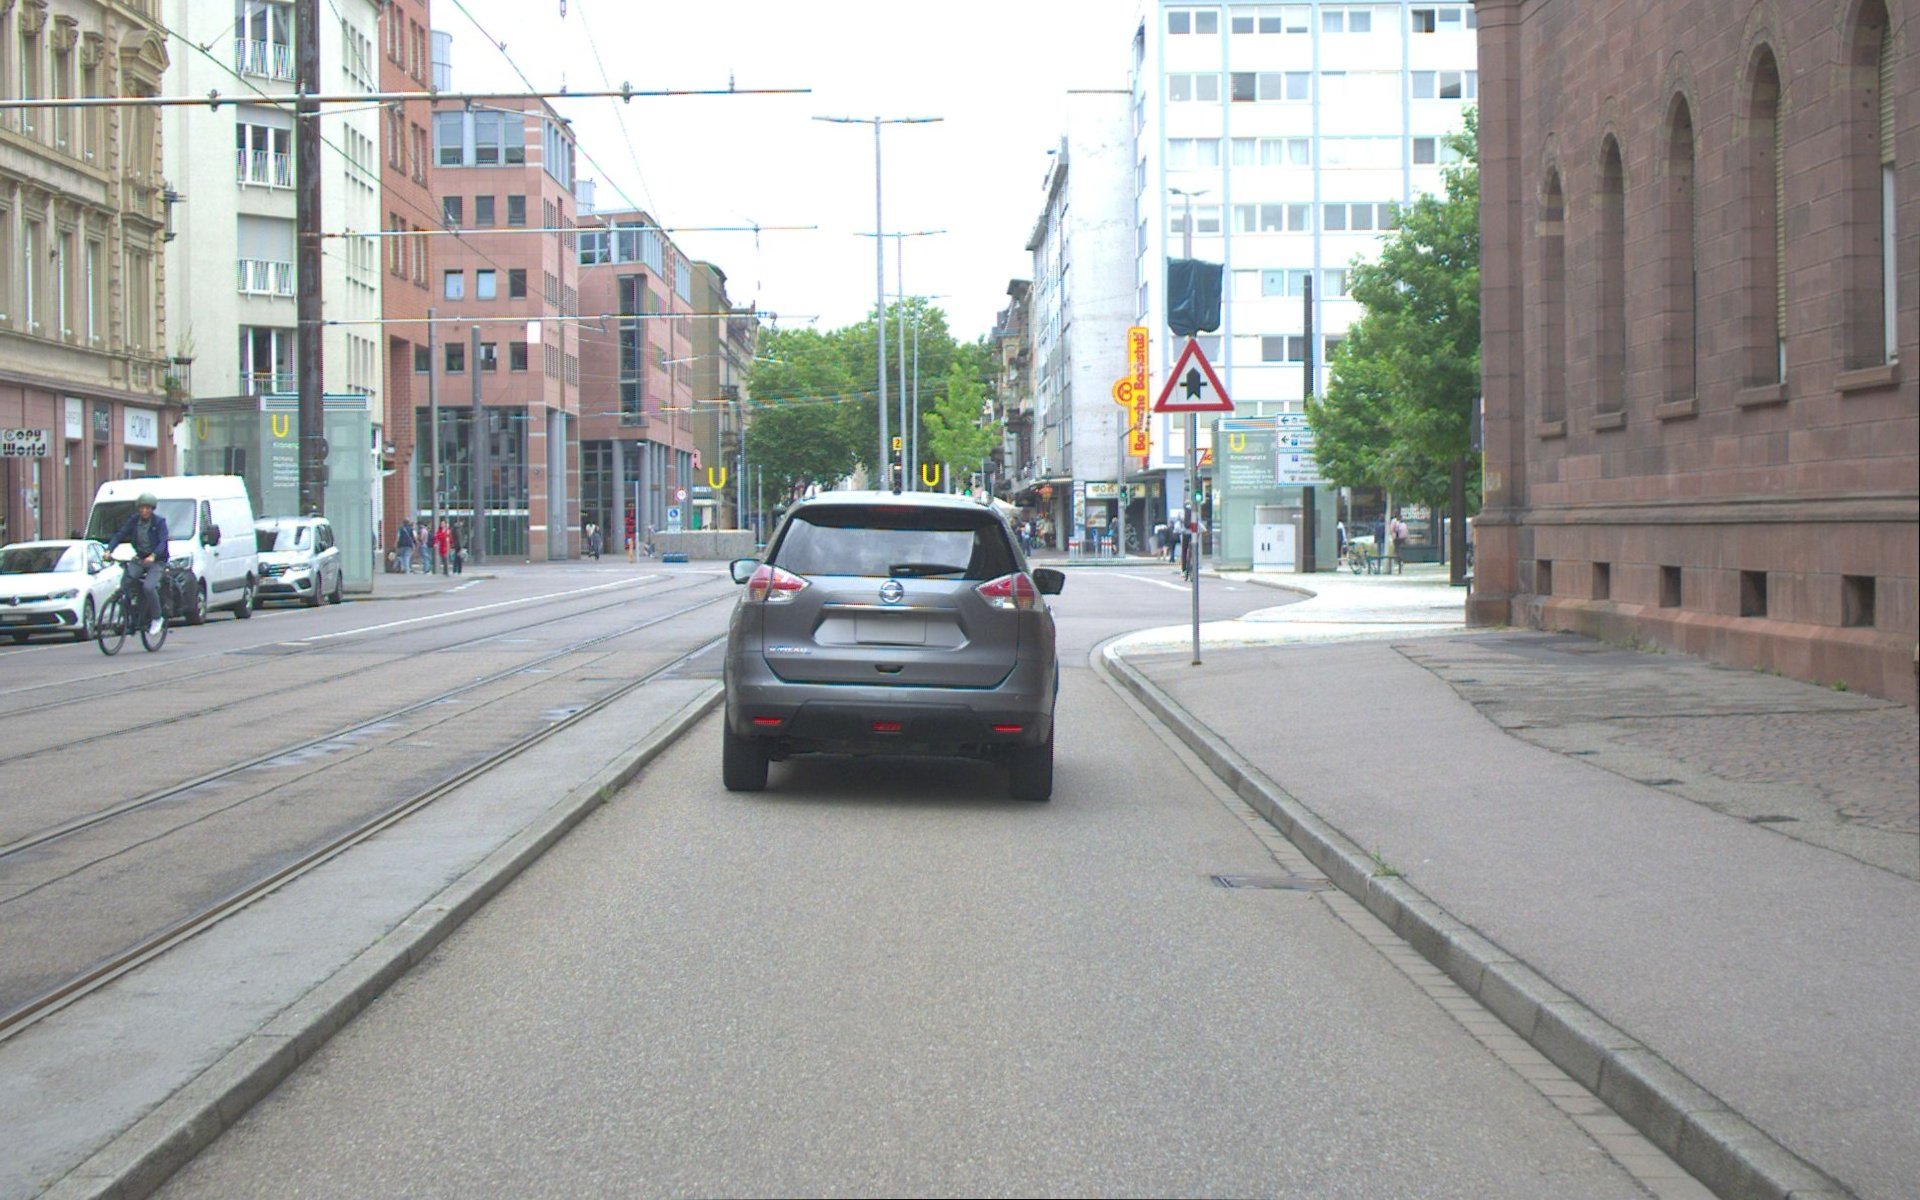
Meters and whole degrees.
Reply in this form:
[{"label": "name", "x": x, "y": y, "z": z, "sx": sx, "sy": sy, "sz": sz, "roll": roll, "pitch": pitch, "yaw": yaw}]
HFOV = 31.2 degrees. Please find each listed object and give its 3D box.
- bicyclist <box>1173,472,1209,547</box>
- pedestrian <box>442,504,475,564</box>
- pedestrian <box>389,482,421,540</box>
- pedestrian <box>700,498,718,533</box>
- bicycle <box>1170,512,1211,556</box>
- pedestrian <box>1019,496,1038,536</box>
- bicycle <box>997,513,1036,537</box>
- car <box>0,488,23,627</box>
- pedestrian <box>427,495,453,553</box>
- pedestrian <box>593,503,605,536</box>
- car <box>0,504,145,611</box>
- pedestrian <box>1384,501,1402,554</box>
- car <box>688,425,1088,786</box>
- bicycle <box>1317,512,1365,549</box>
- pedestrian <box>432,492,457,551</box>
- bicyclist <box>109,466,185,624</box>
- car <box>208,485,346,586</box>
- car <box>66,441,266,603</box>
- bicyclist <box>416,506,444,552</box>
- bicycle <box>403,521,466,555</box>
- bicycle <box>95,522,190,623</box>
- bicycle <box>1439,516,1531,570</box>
[{"label": "bicyclist", "x": 5.615, "y": -2.201, "z": 83.619, "sx": 0.834, "sy": 1.806, "sz": 0.877, "roll": 1, "pitch": 1, "yaw": 2}, {"label": "pedestrian", "x": -15.854, "y": -2.080, "z": 108.660, "sx": 0.896, "sy": 1.883, "sz": 0.799, "roll": 1, "pitch": 0, "yaw": -3}, {"label": "pedestrian", "x": -16.319, "y": -2.619, "z": 101.050, "sx": 0.868, "sy": 1.681, "sz": 0.662, "roll": -1, "pitch": 0, "yaw": -15}, {"label": "pedestrian", "x": -13.001, "y": -4.388, "z": 178.225, "sx": 0.701, "sy": 1.835, "sz": 0.734, "roll": 1, "pitch": 1, "yaw": 18}, {"label": "bicycle", "x": 5.637, "y": -1.616, "z": 84.183, "sx": 0.902, "sy": 1.041, "sz": 3.278, "roll": 0, "pitch": 1, "yaw": 2}, {"label": "pedestrian", "x": 3.020, "y": -3.711, "z": 151.665, "sx": 0.732, "sy": 1.739, "sz": 0.663, "roll": 1, "pitch": 1, "yaw": -8}, {"label": "bicycle", "x": 2.494, "y": -3.329, "z": 152.220, "sx": 1.695, "sy": 1.062, "sz": 0.437, "roll": 1, "pitch": 1, "yaw": -6}, {"label": "car", "x": -12.504, "y": -0.432, "z": 39.946, "sx": 1.919, "sy": 1.683, "sz": 5.053, "roll": -3, "pitch": 2, "yaw": -2}, {"label": "pedestrian", "x": -15.286, "y": -2.237, "z": 100.992, "sx": 0.720, "sy": 1.681, "sz": 0.662, "roll": -1, "pitch": 0, "yaw": -11}, {"label": "pedestrian", "x": -17.142, "y": -3.821, "z": 163.034, "sx": 0.448, "sy": 1.527, "sz": 0.522, "roll": 0, "pitch": 1, "yaw": -18}, {"label": "car", "x": -13.087, "y": -0.627, "z": 49.505, "sx": 1.771, "sy": 1.418, "sz": 4.165, "roll": -3, "pitch": 2, "yaw": -2}, {"label": "pedestrian", "x": 12.692, "y": -2.115, "z": 100.781, "sx": 0.432, "sy": 1.550, "sz": 0.499, "roll": 1, "pitch": 1, "yaw": 0}, {"label": "car", "x": -0.294, "y": -0.019, "z": 20.225, "sx": 1.863, "sy": 1.768, "sz": 4.566, "roll": 4, "pitch": 1, "yaw": 4}, {"label": "bicycle", "x": 10.168, "y": -1.854, "z": 91.611, "sx": 0.659, "sy": 0.975, "sz": 1.752, "roll": 0, "pitch": 2, "yaw": 28}, {"label": "pedestrian", "x": -14.881, "y": -2.252, "z": 99.260, "sx": 0.660, "sy": 1.681, "sz": 0.723, "roll": -1, "pitch": 0, "yaw": -13}, {"label": "bicyclist", "x": -9.840, "y": -0.671, "z": 41.609, "sx": 0.645, "sy": 1.876, "sz": 1.028, "roll": 1, "pitch": 1, "yaw": 1}, {"label": "car", "x": -13.418, "y": -1.286, "z": 67.811, "sx": 1.902, "sy": 1.858, "sz": 4.521, "roll": -2, "pitch": 1, "yaw": -2}, {"label": "car", "x": -13.169, "y": -1.315, "z": 57.381, "sx": 2.052, "sy": 2.478, "sz": 5.666, "roll": -3, "pitch": 2, "yaw": -2}, {"label": "bicyclist", "x": -16.354, "y": -2.201, "z": 106.046, "sx": 0.809, "sy": 1.402, "sz": 0.480, "roll": -1, "pitch": 1, "yaw": -7}, {"label": "bicycle", "x": -16.216, "y": -1.911, "z": 106.070, "sx": 1.905, "sy": 1.017, "sz": 0.481, "roll": -1, "pitch": 1, "yaw": -7}, {"label": "bicycle", "x": -9.867, "y": -0.351, "z": 41.530, "sx": 0.585, "sy": 1.170, "sz": 2.045, "roll": -2, "pitch": 1, "yaw": 1}, {"label": "bicycle", "x": 11.287, "y": -1.228, "z": 73.847, "sx": 1.915, "sy": 1.119, "sz": 0.645, "roll": 1, "pitch": 1, "yaw": 11}]
